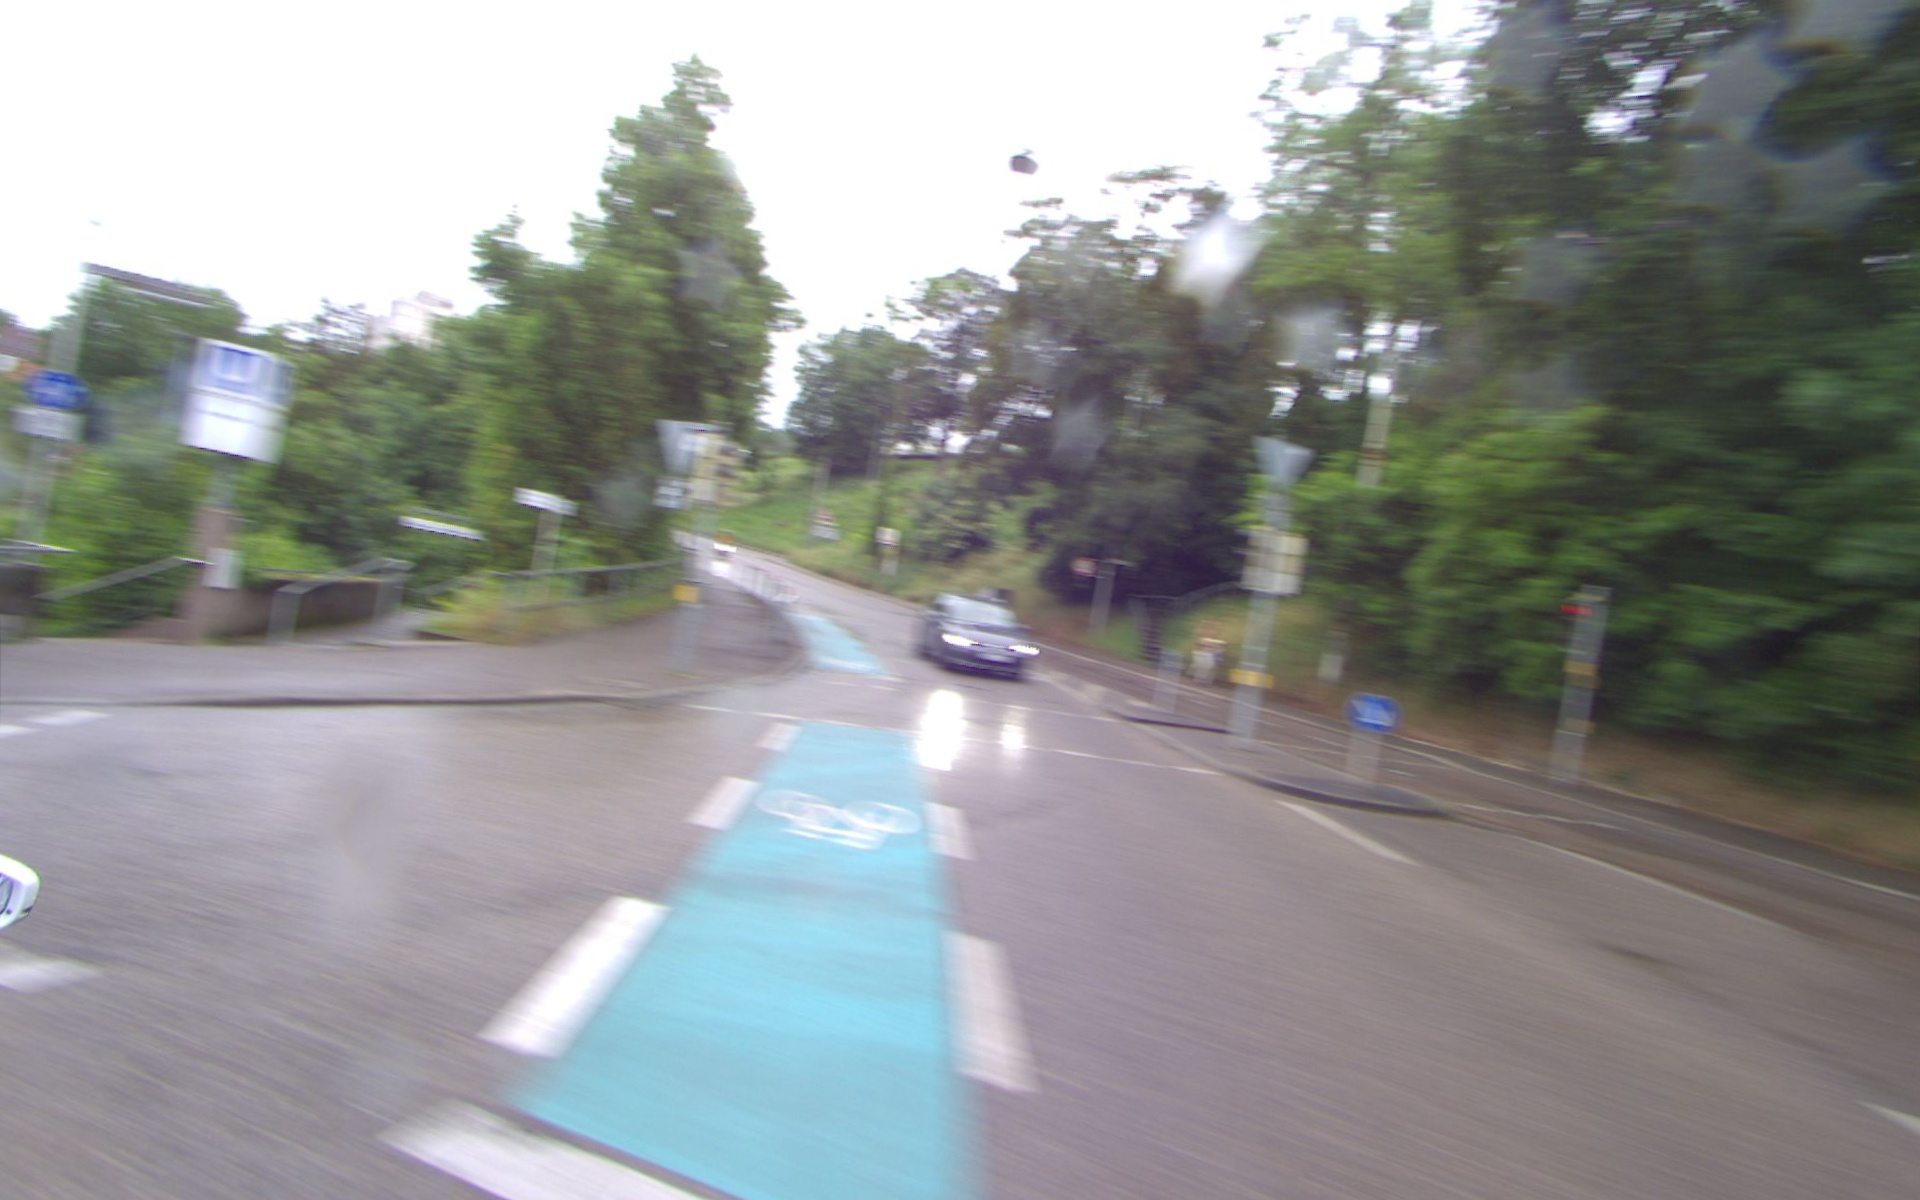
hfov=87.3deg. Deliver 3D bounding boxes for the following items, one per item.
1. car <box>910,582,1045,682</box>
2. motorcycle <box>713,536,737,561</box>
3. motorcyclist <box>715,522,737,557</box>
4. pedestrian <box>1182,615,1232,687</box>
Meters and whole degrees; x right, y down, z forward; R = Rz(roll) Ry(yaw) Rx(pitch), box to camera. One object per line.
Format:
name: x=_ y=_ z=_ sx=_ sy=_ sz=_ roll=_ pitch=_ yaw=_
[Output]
car: x=0.224 y=0.570 z=21.218 sx=1.858 sy=1.540 sz=4.681 roll=8 pitch=1 yaw=-9
motorcycle: x=-13.641 y=-3.006 z=58.429 sx=0.929 sy=1.158 sz=2.631 roll=9 pitch=3 yaw=-20
motorcyclist: x=-13.625 y=-3.535 z=58.560 sx=0.875 sy=1.898 sz=1.247 roll=9 pitch=3 yaw=-20
pedestrian: x=6.601 y=1.355 z=26.922 sx=0.640 sy=1.774 sz=0.795 roll=10 pitch=3 yaw=-19
